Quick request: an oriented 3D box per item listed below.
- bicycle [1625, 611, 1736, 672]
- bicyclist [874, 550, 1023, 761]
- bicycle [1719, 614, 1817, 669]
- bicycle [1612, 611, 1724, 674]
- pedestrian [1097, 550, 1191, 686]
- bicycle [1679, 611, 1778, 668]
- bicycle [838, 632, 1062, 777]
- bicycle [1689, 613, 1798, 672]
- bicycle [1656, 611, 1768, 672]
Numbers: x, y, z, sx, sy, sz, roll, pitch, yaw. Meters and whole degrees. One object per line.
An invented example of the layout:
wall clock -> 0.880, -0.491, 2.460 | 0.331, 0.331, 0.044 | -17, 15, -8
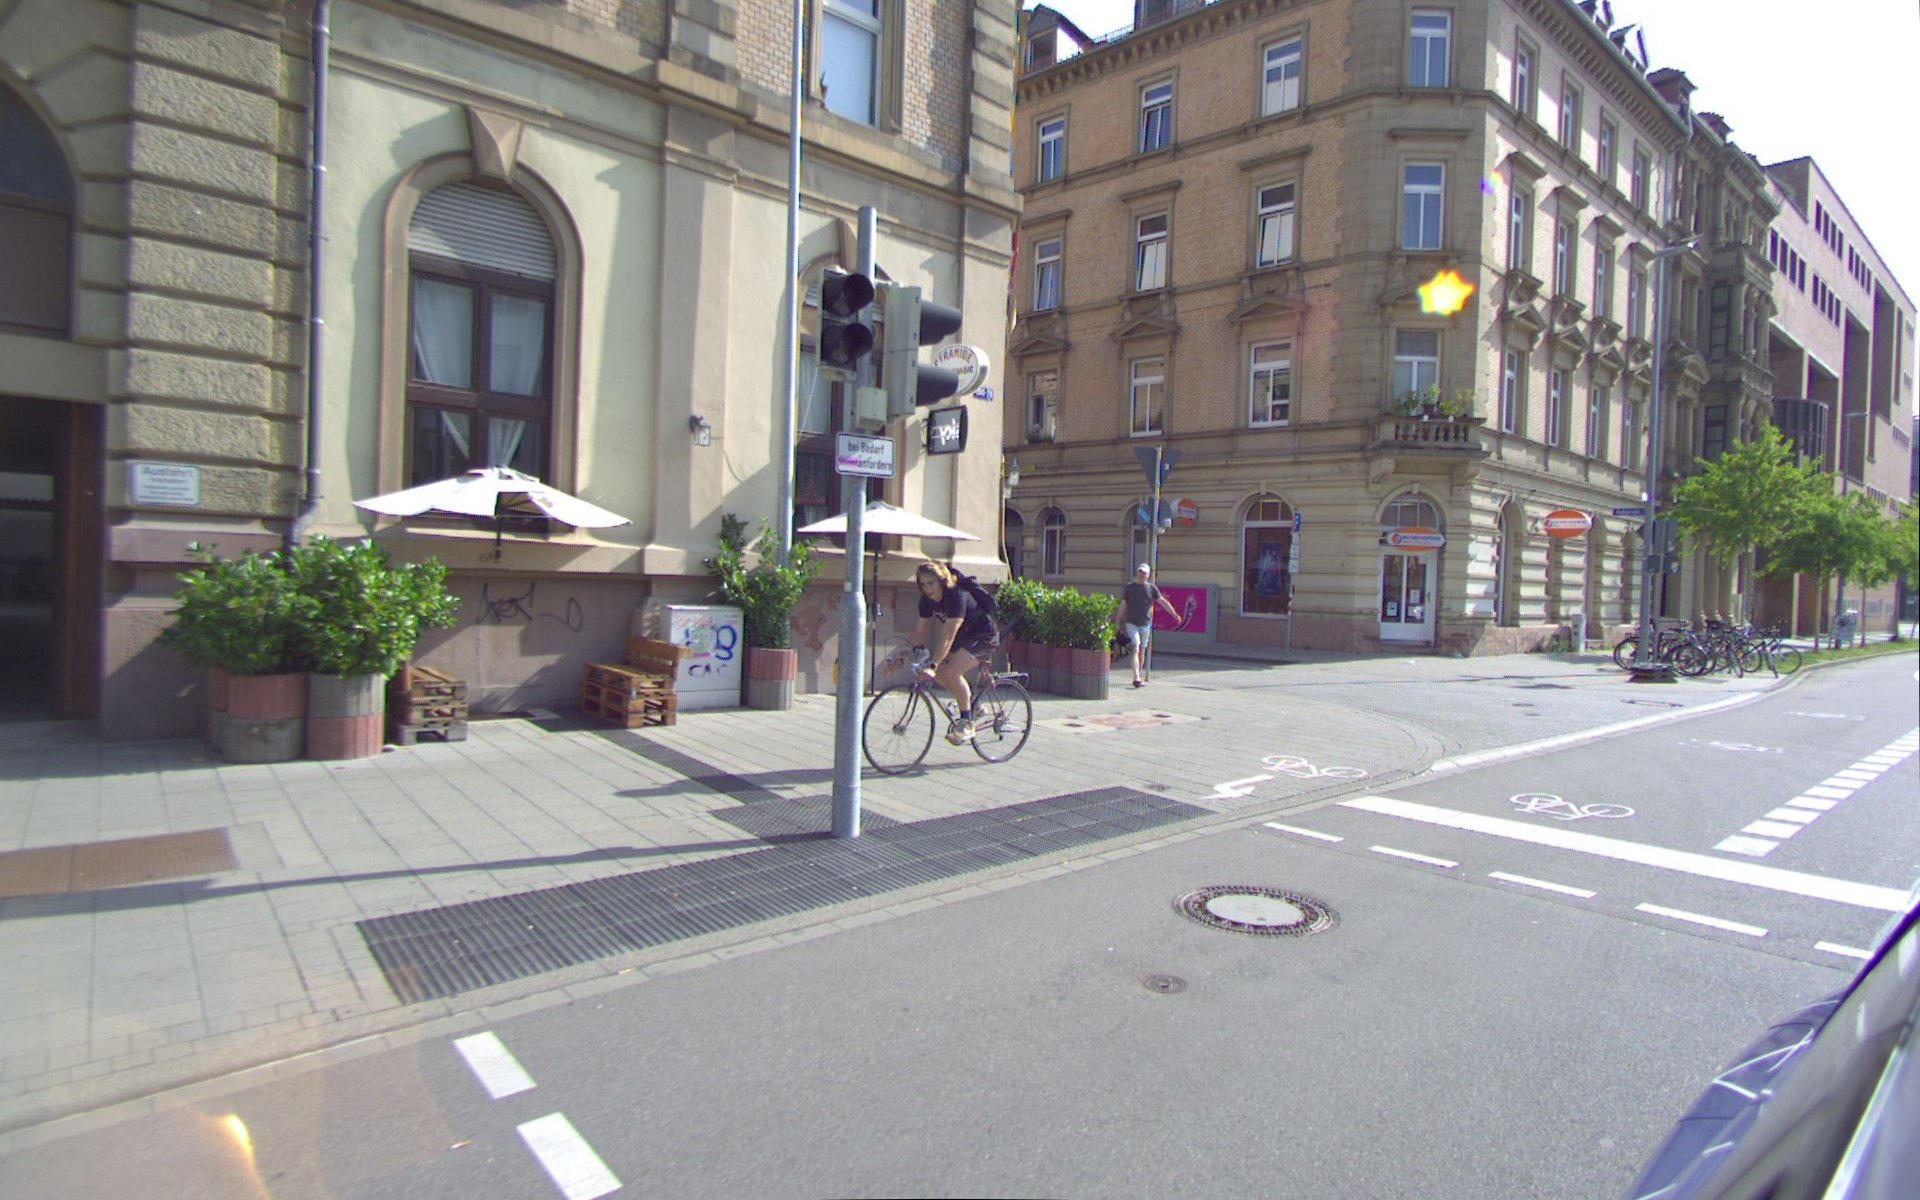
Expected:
bicycle -> 15.118, 0.850, 21.272 | 0.572, 1.100, 1.759 | 1, 3, -37
bicyclist -> -0.088, 0.398, 7.773 | 0.914, 1.500, 0.585 | 1, 2, -38
bicycle -> 19.475, 0.986, 24.409 | 1.755, 1.100, 0.602 | 7, 5, 41
bicycle -> 14.619, 0.851, 20.948 | 0.572, 1.100, 1.759 | 1, 3, -37
pedestrian -> 2.622, 0.239, 14.495 | 0.973, 1.828, 0.866 | 4, 1, -9
bicycle -> 18.048, 0.912, 23.789 | 1.755, 1.100, 0.648 | 7, 5, 41
bicycle -> -0.043, 0.758, 7.849 | 1.752, 0.965, 0.507 | 1, 3, -38
bicycle -> 17.527, 0.932, 22.696 | 1.745, 1.100, 0.666 | 6, 4, 28
bicycle -> 16.228, 0.870, 21.879 | 0.656, 1.100, 1.763 | 2, 4, -35
